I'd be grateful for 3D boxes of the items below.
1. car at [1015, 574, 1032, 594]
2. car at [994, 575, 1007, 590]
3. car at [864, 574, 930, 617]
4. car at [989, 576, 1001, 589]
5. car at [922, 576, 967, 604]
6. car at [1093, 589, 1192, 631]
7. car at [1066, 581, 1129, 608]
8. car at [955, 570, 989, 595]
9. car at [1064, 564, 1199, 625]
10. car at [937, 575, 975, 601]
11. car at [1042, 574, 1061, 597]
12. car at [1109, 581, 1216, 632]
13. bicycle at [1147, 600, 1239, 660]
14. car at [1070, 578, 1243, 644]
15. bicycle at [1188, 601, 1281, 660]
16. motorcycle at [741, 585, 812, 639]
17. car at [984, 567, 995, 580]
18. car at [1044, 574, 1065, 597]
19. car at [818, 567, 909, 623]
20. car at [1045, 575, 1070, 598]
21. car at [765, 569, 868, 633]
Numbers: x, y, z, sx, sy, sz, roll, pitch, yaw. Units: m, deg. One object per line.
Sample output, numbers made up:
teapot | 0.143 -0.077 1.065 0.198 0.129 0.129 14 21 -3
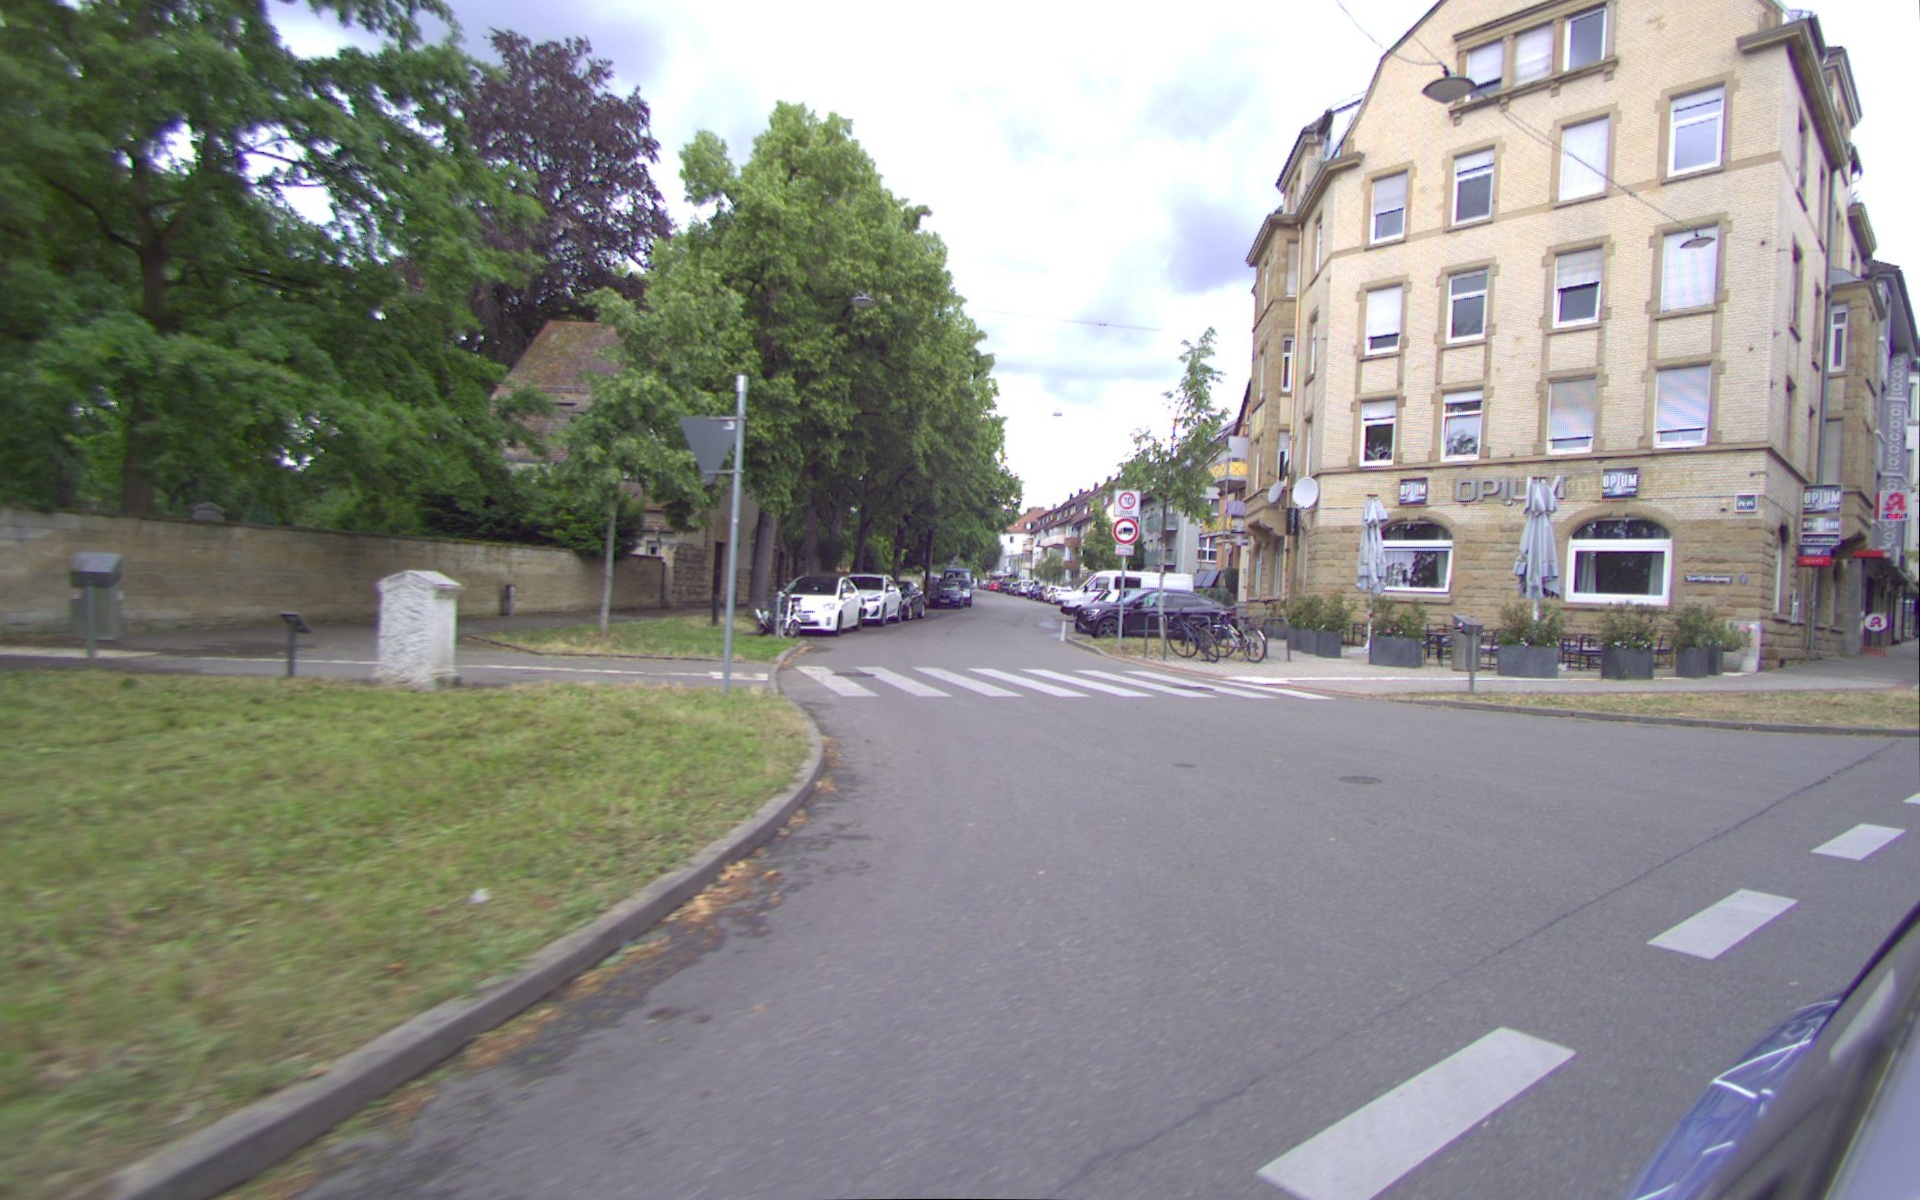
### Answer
car | 6.783 -1.647 107.908 1.686 2.039 3.994 0 0 5
car | 5.045 -2.198 126.859 1.479 1.862 3.476 0 0 1
car | -2.286 -0.194 37.846 1.766 1.454 4.367 2 1 5
car | 4.827 -2.419 139.875 1.674 1.783 3.583 0 0 1
car | -0.780 -0.541 54.271 1.965 1.372 4.237 2 1 5
car | 6.300 0.330 35.169 3.116 1.419 1.473 0 0 -2
car | 7.573 -0.273 55.765 3.232 1.455 1.549 0 0 0
car | 0.875 -1.182 69.066 1.965 1.616 4.367 2 1 5
car | 7.133 -0.243 42.531 5.405 2.320 1.996 2 1 8
car | -0.222 -0.704 59.480 1.964 1.417 4.126 2 1 3
car | 8.232 -1.284 91.396 1.667 2.039 3.733 0 0 5
car | 6.491 0.192 32.610 3.099 1.555 1.549 1 0 0
bicycle | 4.785 0.598 20.941 0.589 1.079 2.192 1 2 -25
car | 5.304 0.272 27.720 4.290 1.616 2.000 2 1 0
bicycle | 5.741 0.609 21.332 0.589 1.079 2.192 1 2 -25
motorcycle | -4.221 0.274 23.162 1.992 1.184 0.552 -1 -1 44
car | 4.668 -4.228 160.853 1.782 2.039 3.999 0 0 1
car | 7.978 -1.182 85.438 1.700 1.836 3.867 0 0 5
car | -2.999 -0.197 32.541 1.966 1.616 4.364 2 1 7
car | 7.802 -1.059 81.089 1.965 1.768 3.994 0 0 5
car | -3.697 -0.019 26.778 1.780 1.517 4.274 2 1 4
